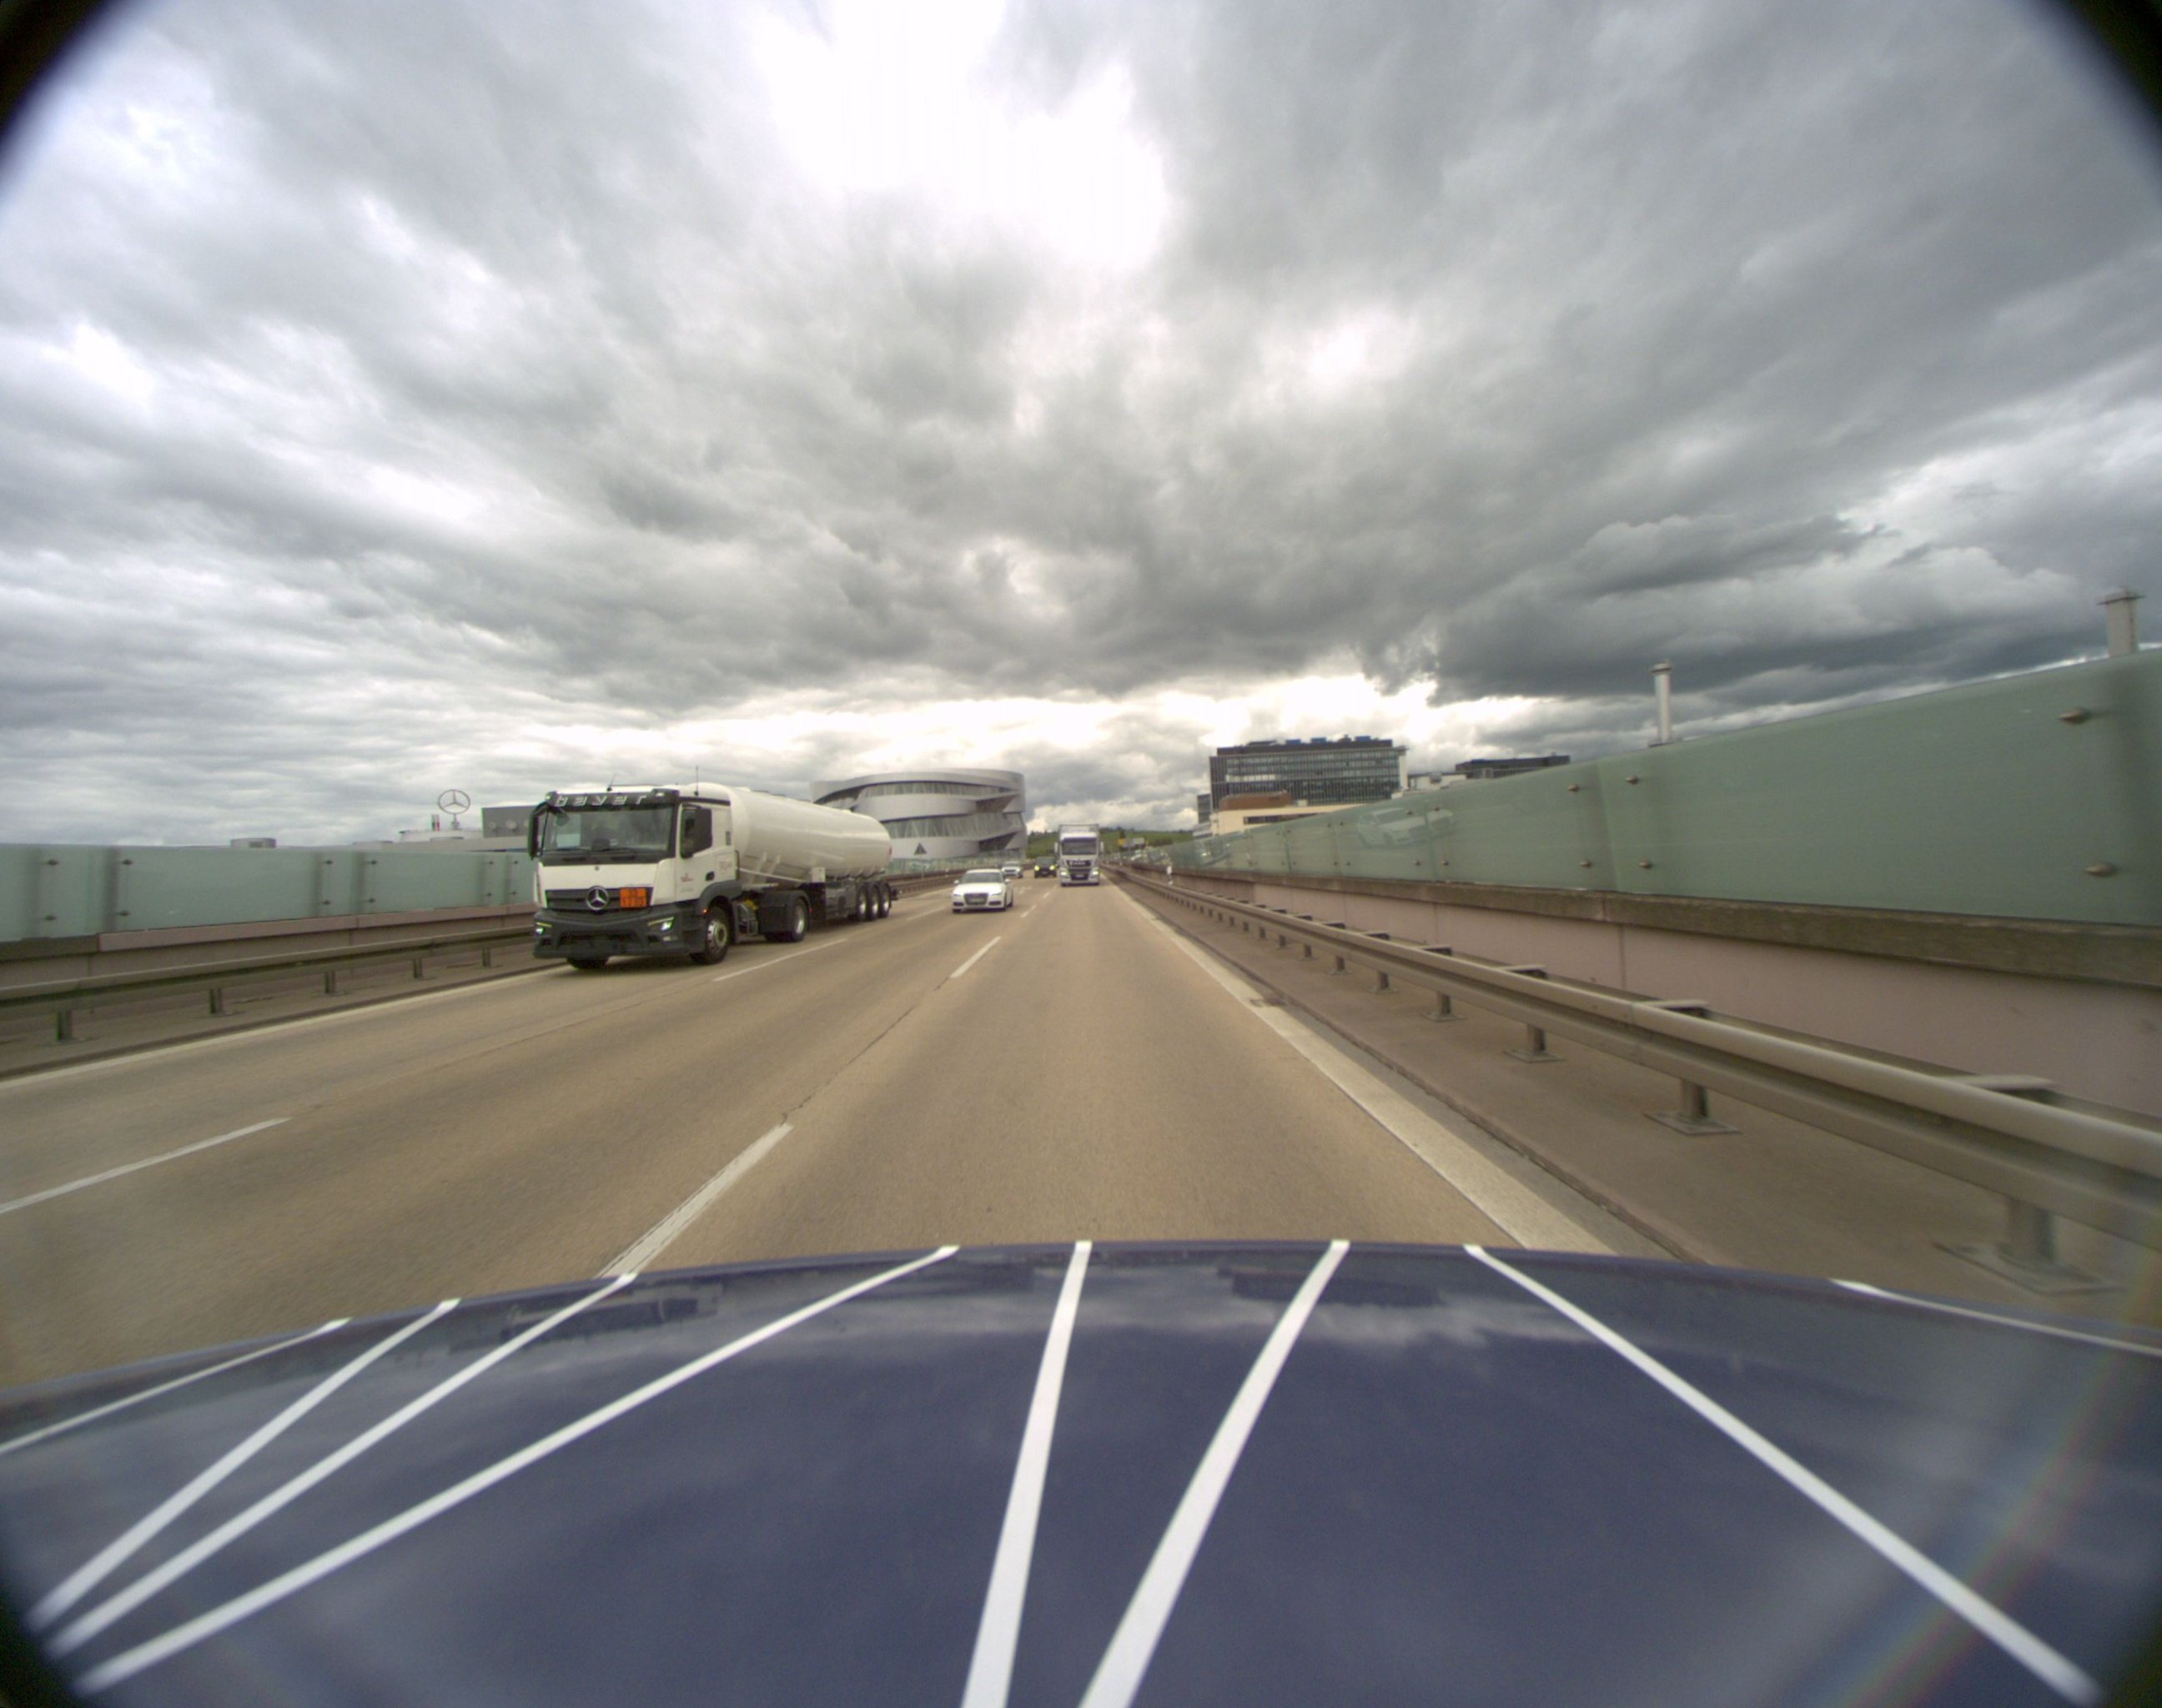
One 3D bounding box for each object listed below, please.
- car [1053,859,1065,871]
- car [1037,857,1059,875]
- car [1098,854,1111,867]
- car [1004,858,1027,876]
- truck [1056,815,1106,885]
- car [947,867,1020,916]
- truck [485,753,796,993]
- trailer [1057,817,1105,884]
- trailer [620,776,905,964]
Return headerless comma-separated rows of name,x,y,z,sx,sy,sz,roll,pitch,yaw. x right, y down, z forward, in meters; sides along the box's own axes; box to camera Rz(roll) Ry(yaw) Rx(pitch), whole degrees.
car,-3.941,1.999,136.704,1.998,2.002,4.000,-2,0,0
car,-3.132,1.127,72.476,1.765,1.624,3.627,-2,0,1
car,3.869,1.105,128.020,1.998,2.002,4.000,-2,0,0
car,-6.310,1.268,73.506,1.785,1.624,3.627,-2,0,1
truck,0.053,-0.255,49.166,2.946,4.136,6.291,-2,0,1
car,-3.305,1.249,26.490,1.848,1.443,3.933,-2,0,3
truck,-7.459,0.322,13.726,2.637,3.493,4.905,-2,-1,0
trailer,0.116,-0.222,53.580,2.880,4.104,11.220,-2,0,1
trailer,-7.412,0.284,20.182,2.657,3.523,11.219,-2,0,0
